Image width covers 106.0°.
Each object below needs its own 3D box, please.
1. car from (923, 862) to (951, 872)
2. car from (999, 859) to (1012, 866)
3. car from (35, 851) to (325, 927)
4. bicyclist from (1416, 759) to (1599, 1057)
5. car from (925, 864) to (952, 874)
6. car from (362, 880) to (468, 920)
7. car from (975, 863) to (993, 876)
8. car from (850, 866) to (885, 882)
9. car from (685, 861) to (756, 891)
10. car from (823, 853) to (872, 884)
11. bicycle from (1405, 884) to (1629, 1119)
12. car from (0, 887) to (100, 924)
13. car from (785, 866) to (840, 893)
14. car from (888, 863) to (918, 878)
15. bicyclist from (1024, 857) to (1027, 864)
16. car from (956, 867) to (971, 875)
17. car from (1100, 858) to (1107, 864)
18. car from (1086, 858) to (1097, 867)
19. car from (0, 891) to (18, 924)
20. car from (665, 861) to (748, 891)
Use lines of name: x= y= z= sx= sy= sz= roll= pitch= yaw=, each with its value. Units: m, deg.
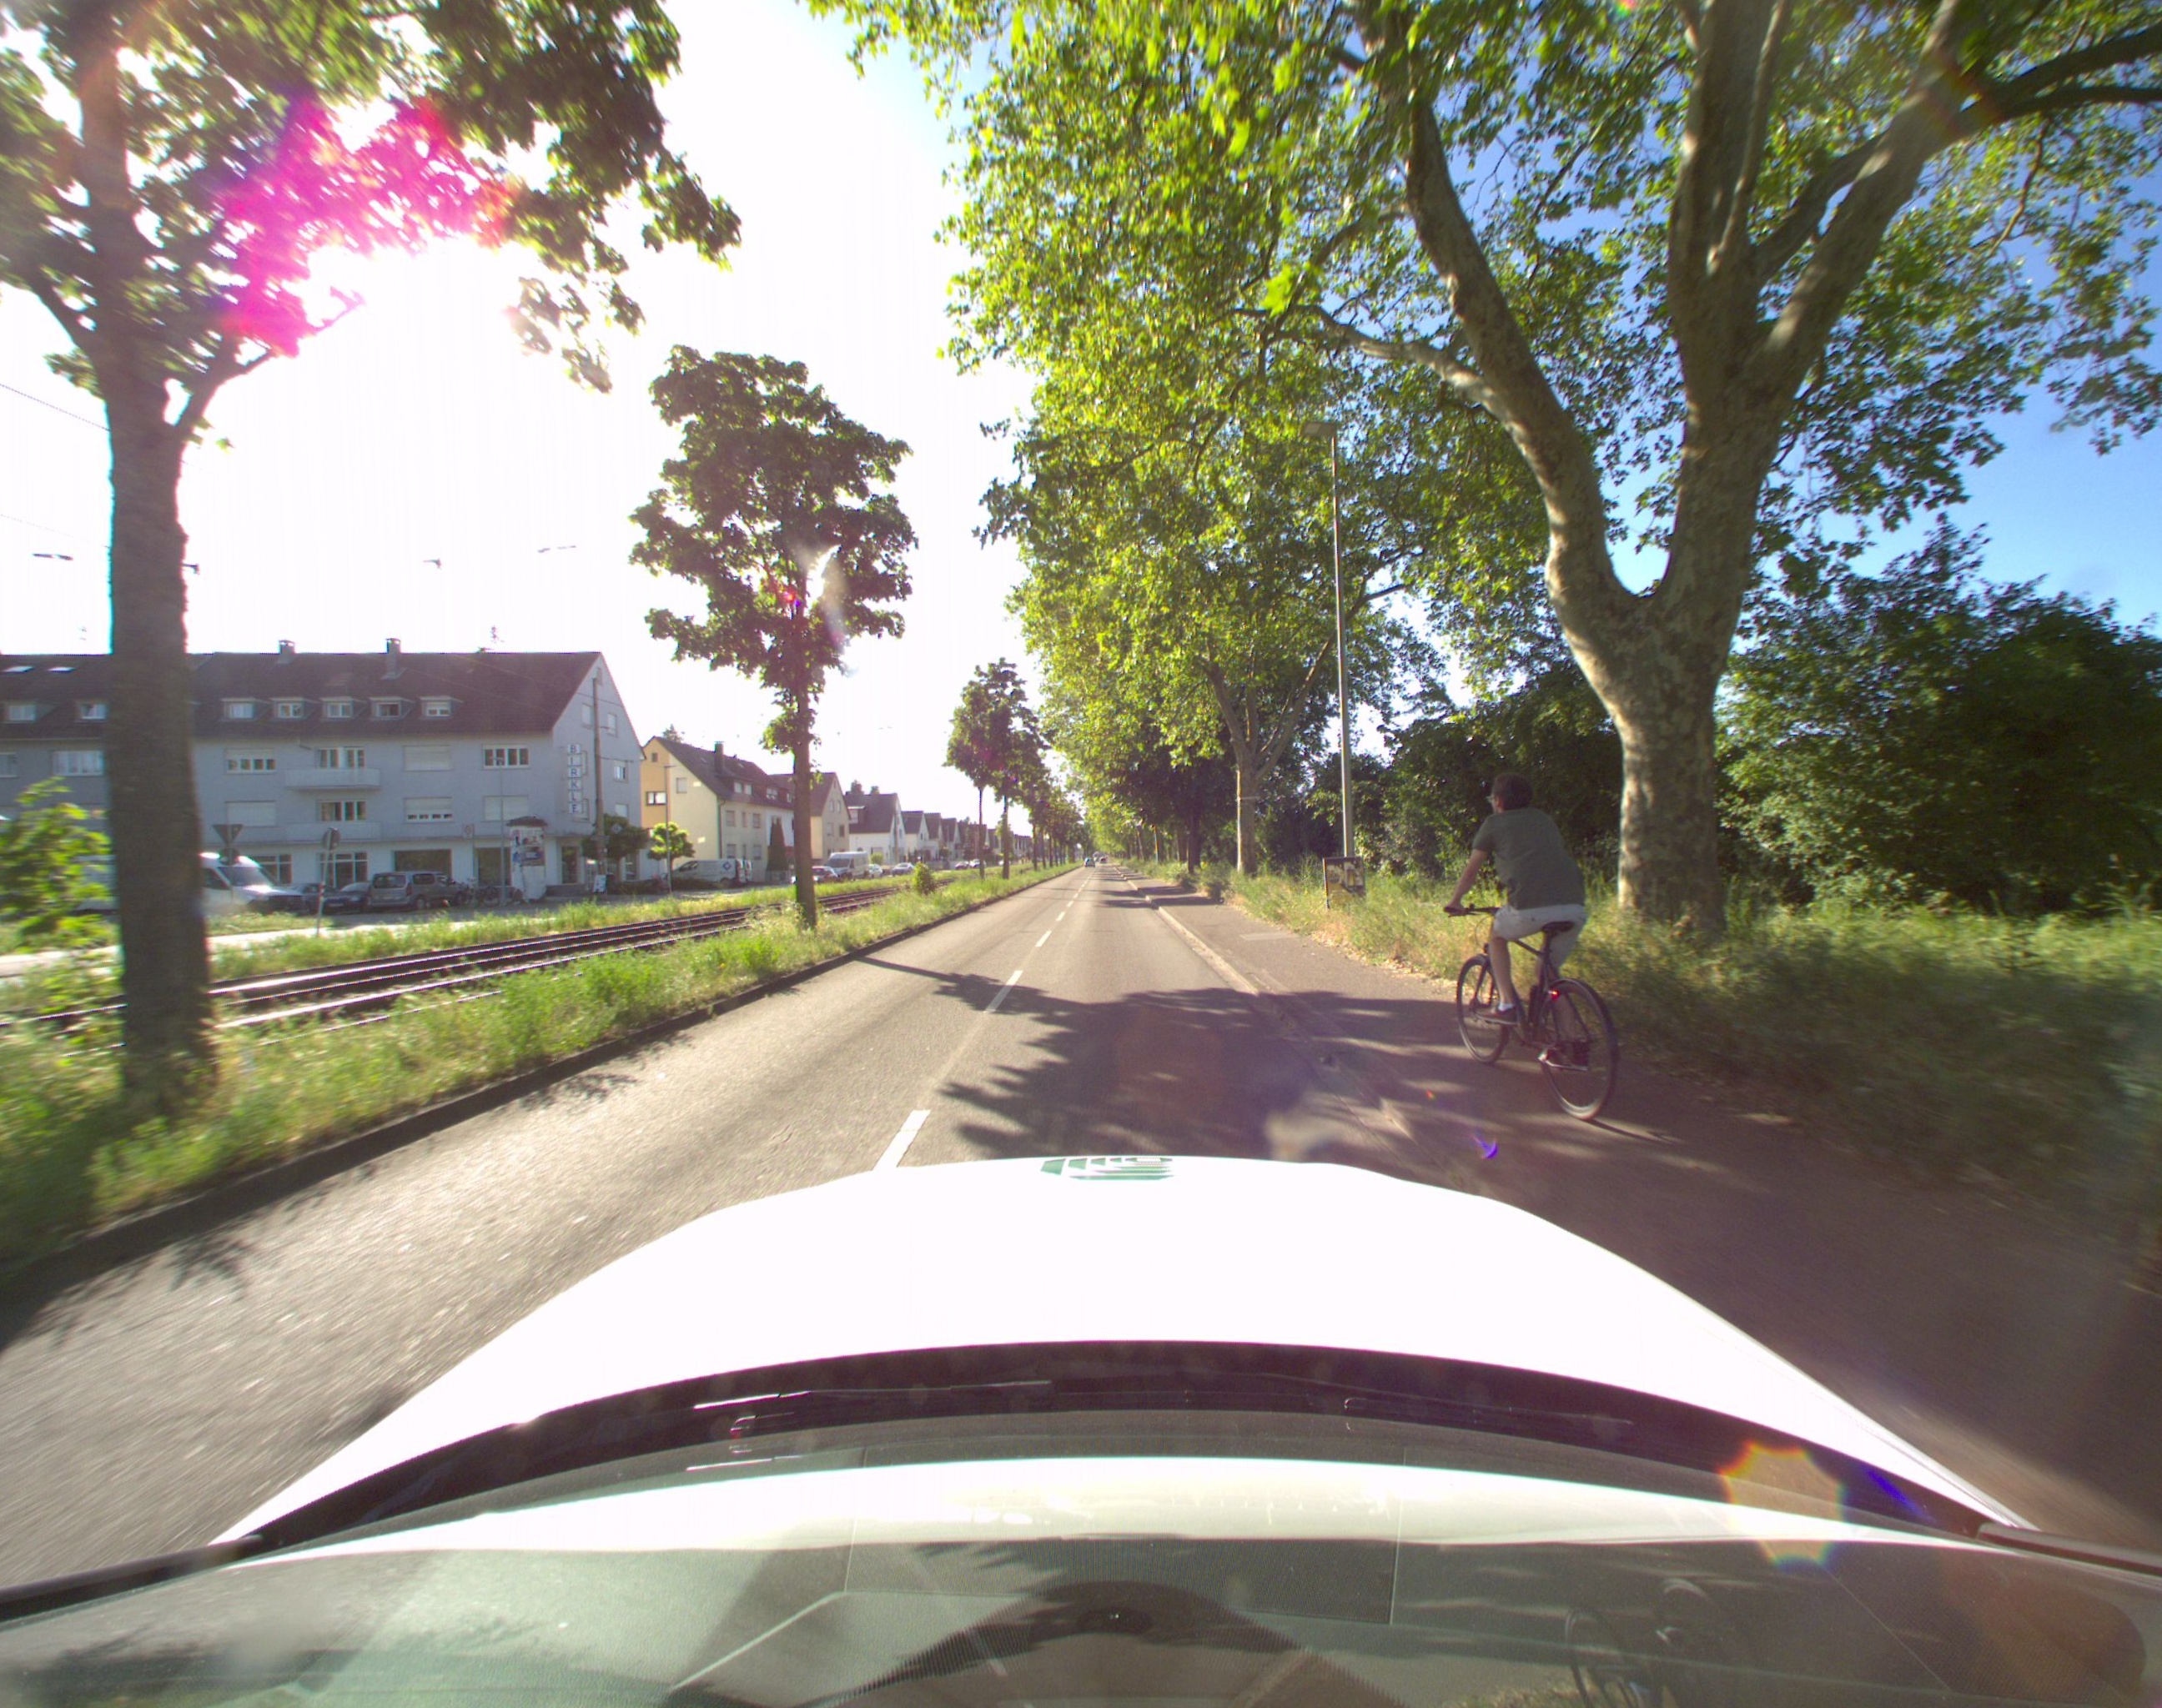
car: x=-22.740 y=2.077 z=128.687 sx=4.203 sy=1.464 sz=1.936 roll=0 pitch=-1 yaw=-3
car: x=-16.819 y=1.932 z=181.141 sx=1.984 sy=1.599 sz=4.737 roll=0 pitch=-1 yaw=5
car: x=-30.896 y=1.159 z=28.139 sx=7.050 sy=2.507 sz=2.328 roll=0 pitch=-1 yaw=-3
bicyclist: x=2.532 y=0.298 z=4.936 sx=0.611 sy=1.628 sz=0.909 roll=-1 pitch=-1 yaw=1
car: x=-23.070 y=2.431 z=132.027 sx=3.977 sy=1.669 sz=1.998 roll=0 pitch=-1 yaw=-3
car: x=-30.179 y=2.041 z=37.063 sx=1.794 sy=1.670 sz=4.089 roll=0 pitch=-1 yaw=-7
car: x=-14.412 y=2.305 z=120.794 sx=1.908 sy=1.883 sz=4.526 roll=0 pitch=-1 yaw=3
car: x=-19.219 y=1.769 z=73.578 sx=1.818 sy=1.412 sz=4.658 roll=0 pitch=-1 yaw=1
car: x=-25.155 y=1.512 z=56.909 sx=4.137 sy=1.952 sz=1.994 roll=-1 pitch=-1 yaw=-10
car: x=-19.378 y=1.242 z=67.866 sx=1.986 sy=2.459 sz=6.675 roll=0 pitch=-1 yaw=1
bicycle: x=2.563 y=0.777 z=5.027 sx=0.438 sy=1.153 sz=1.823 roll=0 pitch=-1 yaw=1
car: x=-46.242 y=2.266 z=35.985 sx=1.526 sy=1.449 sz=3.625 roll=-1 pitch=-1 yaw=-4
car: x=-15.213 y=1.425 z=46.315 sx=1.670 sy=1.410 sz=4.001 roll=-1 pitch=0 yaw=2
car: x=-19.047 y=1.725 z=87.240 sx=1.986 sy=1.581 sz=4.500 roll=0 pitch=0 yaw=2
bicyclist: x=-13.468 y=1.504 z=197.268 sx=0.686 sy=1.652 sz=0.882 roll=0 pitch=-1 yaw=1
car: x=-18.022 y=2.604 z=125.206 sx=1.487 sy=1.326 sz=4.003 roll=0 pitch=-1 yaw=3
car: x=5.326 y=1.693 z=192.410 sx=1.754 sy=1.513 sz=3.278 roll=0 pitch=-1 yaw=2
car: x=1.625 y=1.357 z=128.478 sx=1.732 sy=1.401 sz=3.277 roll=0 pitch=-1 yaw=1
car: x=-48.531 y=2.384 z=34.800 sx=1.526 sy=1.465 sz=3.625 roll=-2 pitch=0 yaw=-4
car: x=-24.949 y=1.445 z=54.411 sx=4.616 sy=1.945 sz=1.994 roll=-1 pitch=-1 yaw=-9
